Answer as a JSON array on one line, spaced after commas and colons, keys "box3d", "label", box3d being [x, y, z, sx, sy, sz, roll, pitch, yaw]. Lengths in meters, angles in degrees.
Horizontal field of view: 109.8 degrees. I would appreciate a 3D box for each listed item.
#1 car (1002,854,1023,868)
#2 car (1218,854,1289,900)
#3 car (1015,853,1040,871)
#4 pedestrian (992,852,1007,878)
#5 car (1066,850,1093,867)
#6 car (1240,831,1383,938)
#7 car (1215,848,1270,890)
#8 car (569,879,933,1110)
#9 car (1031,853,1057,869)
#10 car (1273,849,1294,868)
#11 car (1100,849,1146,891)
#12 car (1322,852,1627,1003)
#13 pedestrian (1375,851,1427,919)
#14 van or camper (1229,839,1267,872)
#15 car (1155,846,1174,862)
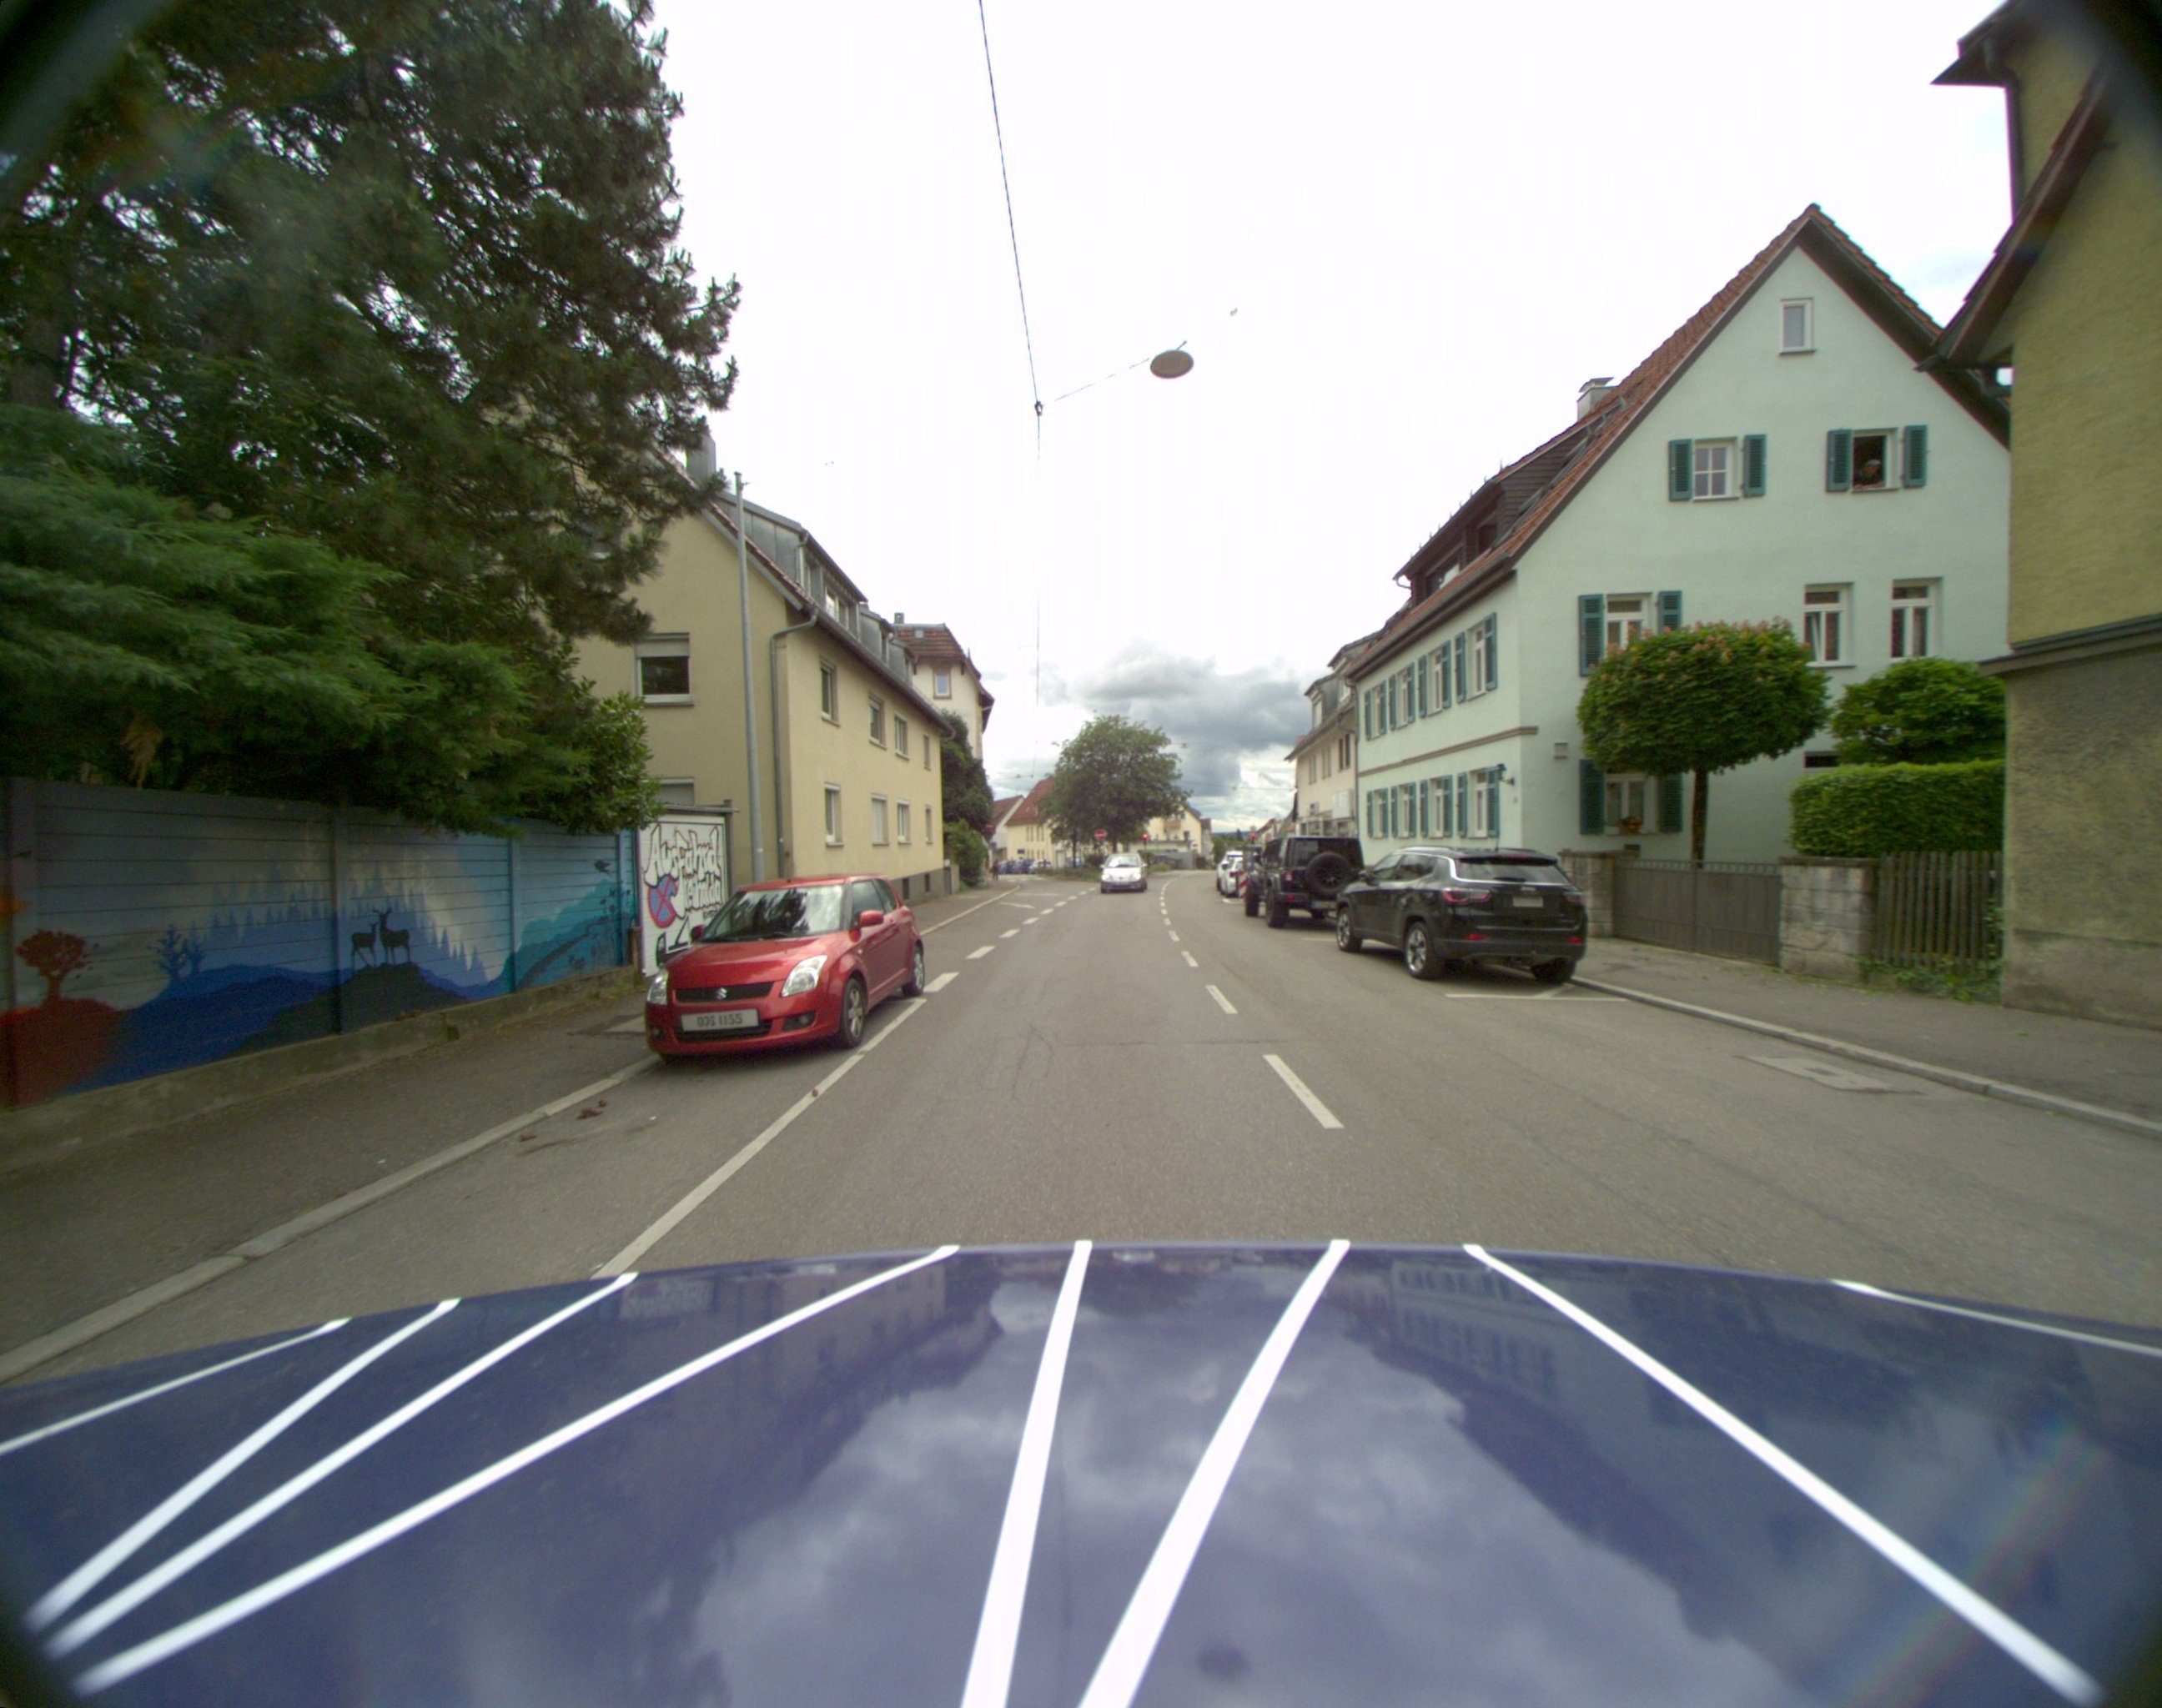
[{"box3d": [-8.883, 0.917, 97.985, 1.724, 1.720, 3.995, -2, -1, -19], "label": "car"}, {"box3d": [5.983, 0.741, 26.756, 2.002, 1.428, 3.920, -2, 0, 7], "label": "car"}, {"box3d": [-6.433, 0.988, 90.919, 1.777, 1.931, 4.318, 1, -2, -20], "label": "car"}, {"box3d": [-5.770, 0.783, 53.724, 0.861, 1.722, 1.021, -2, -1, -11], "label": "pedestrian"}, {"box3d": [-0.239, 0.549, 88.398, 1.903, 1.791, 4.888, -2, -1, -14], "label": "car"}, {"box3d": [4.889, 0.573, 16.876, 1.998, 2.002, 4.671, 1, 0, 4], "label": "car"}, {"box3d": [6.771, 0.567, 32.250, 2.001, 1.623, 4.861, -2, 0, 9], "label": "car"}, {"box3d": [-2.807, 1.097, 7.577, 1.763, 1.443, 4.000, -3, 1, 1], "label": "car"}, {"box3d": [-4.181, 0.756, 84.826, 1.776, 1.608, 3.994, -2, -1, -20], "label": "car"}, {"box3d": [22.005, 0.507, 82.429, 1.814, 1.994, 4.770, 1, 0, 19], "label": "car"}, {"box3d": [1.688, 0.659, 31.492, 1.721, 1.586, 4.001, -3, -1, 2], "label": "car"}, {"box3d": [4.943, 0.821, 10.427, 1.901, 1.609, 4.526, 0, -1, 1], "label": "car"}, {"box3d": [7.372, 0.697, 17.559, 0.807, 1.491, 0.976, -3, 1, 6], "label": "pedestrian"}, {"box3d": [11.181, 0.051, 50.633, 2.076, 1.995, 4.862, 1, 2, 16], "label": "van or camper"}, {"box3d": [9.317, 0.023, 84.268, 1.749, 1.729, 4.576, 1, -1, 10], "label": "car"}]
